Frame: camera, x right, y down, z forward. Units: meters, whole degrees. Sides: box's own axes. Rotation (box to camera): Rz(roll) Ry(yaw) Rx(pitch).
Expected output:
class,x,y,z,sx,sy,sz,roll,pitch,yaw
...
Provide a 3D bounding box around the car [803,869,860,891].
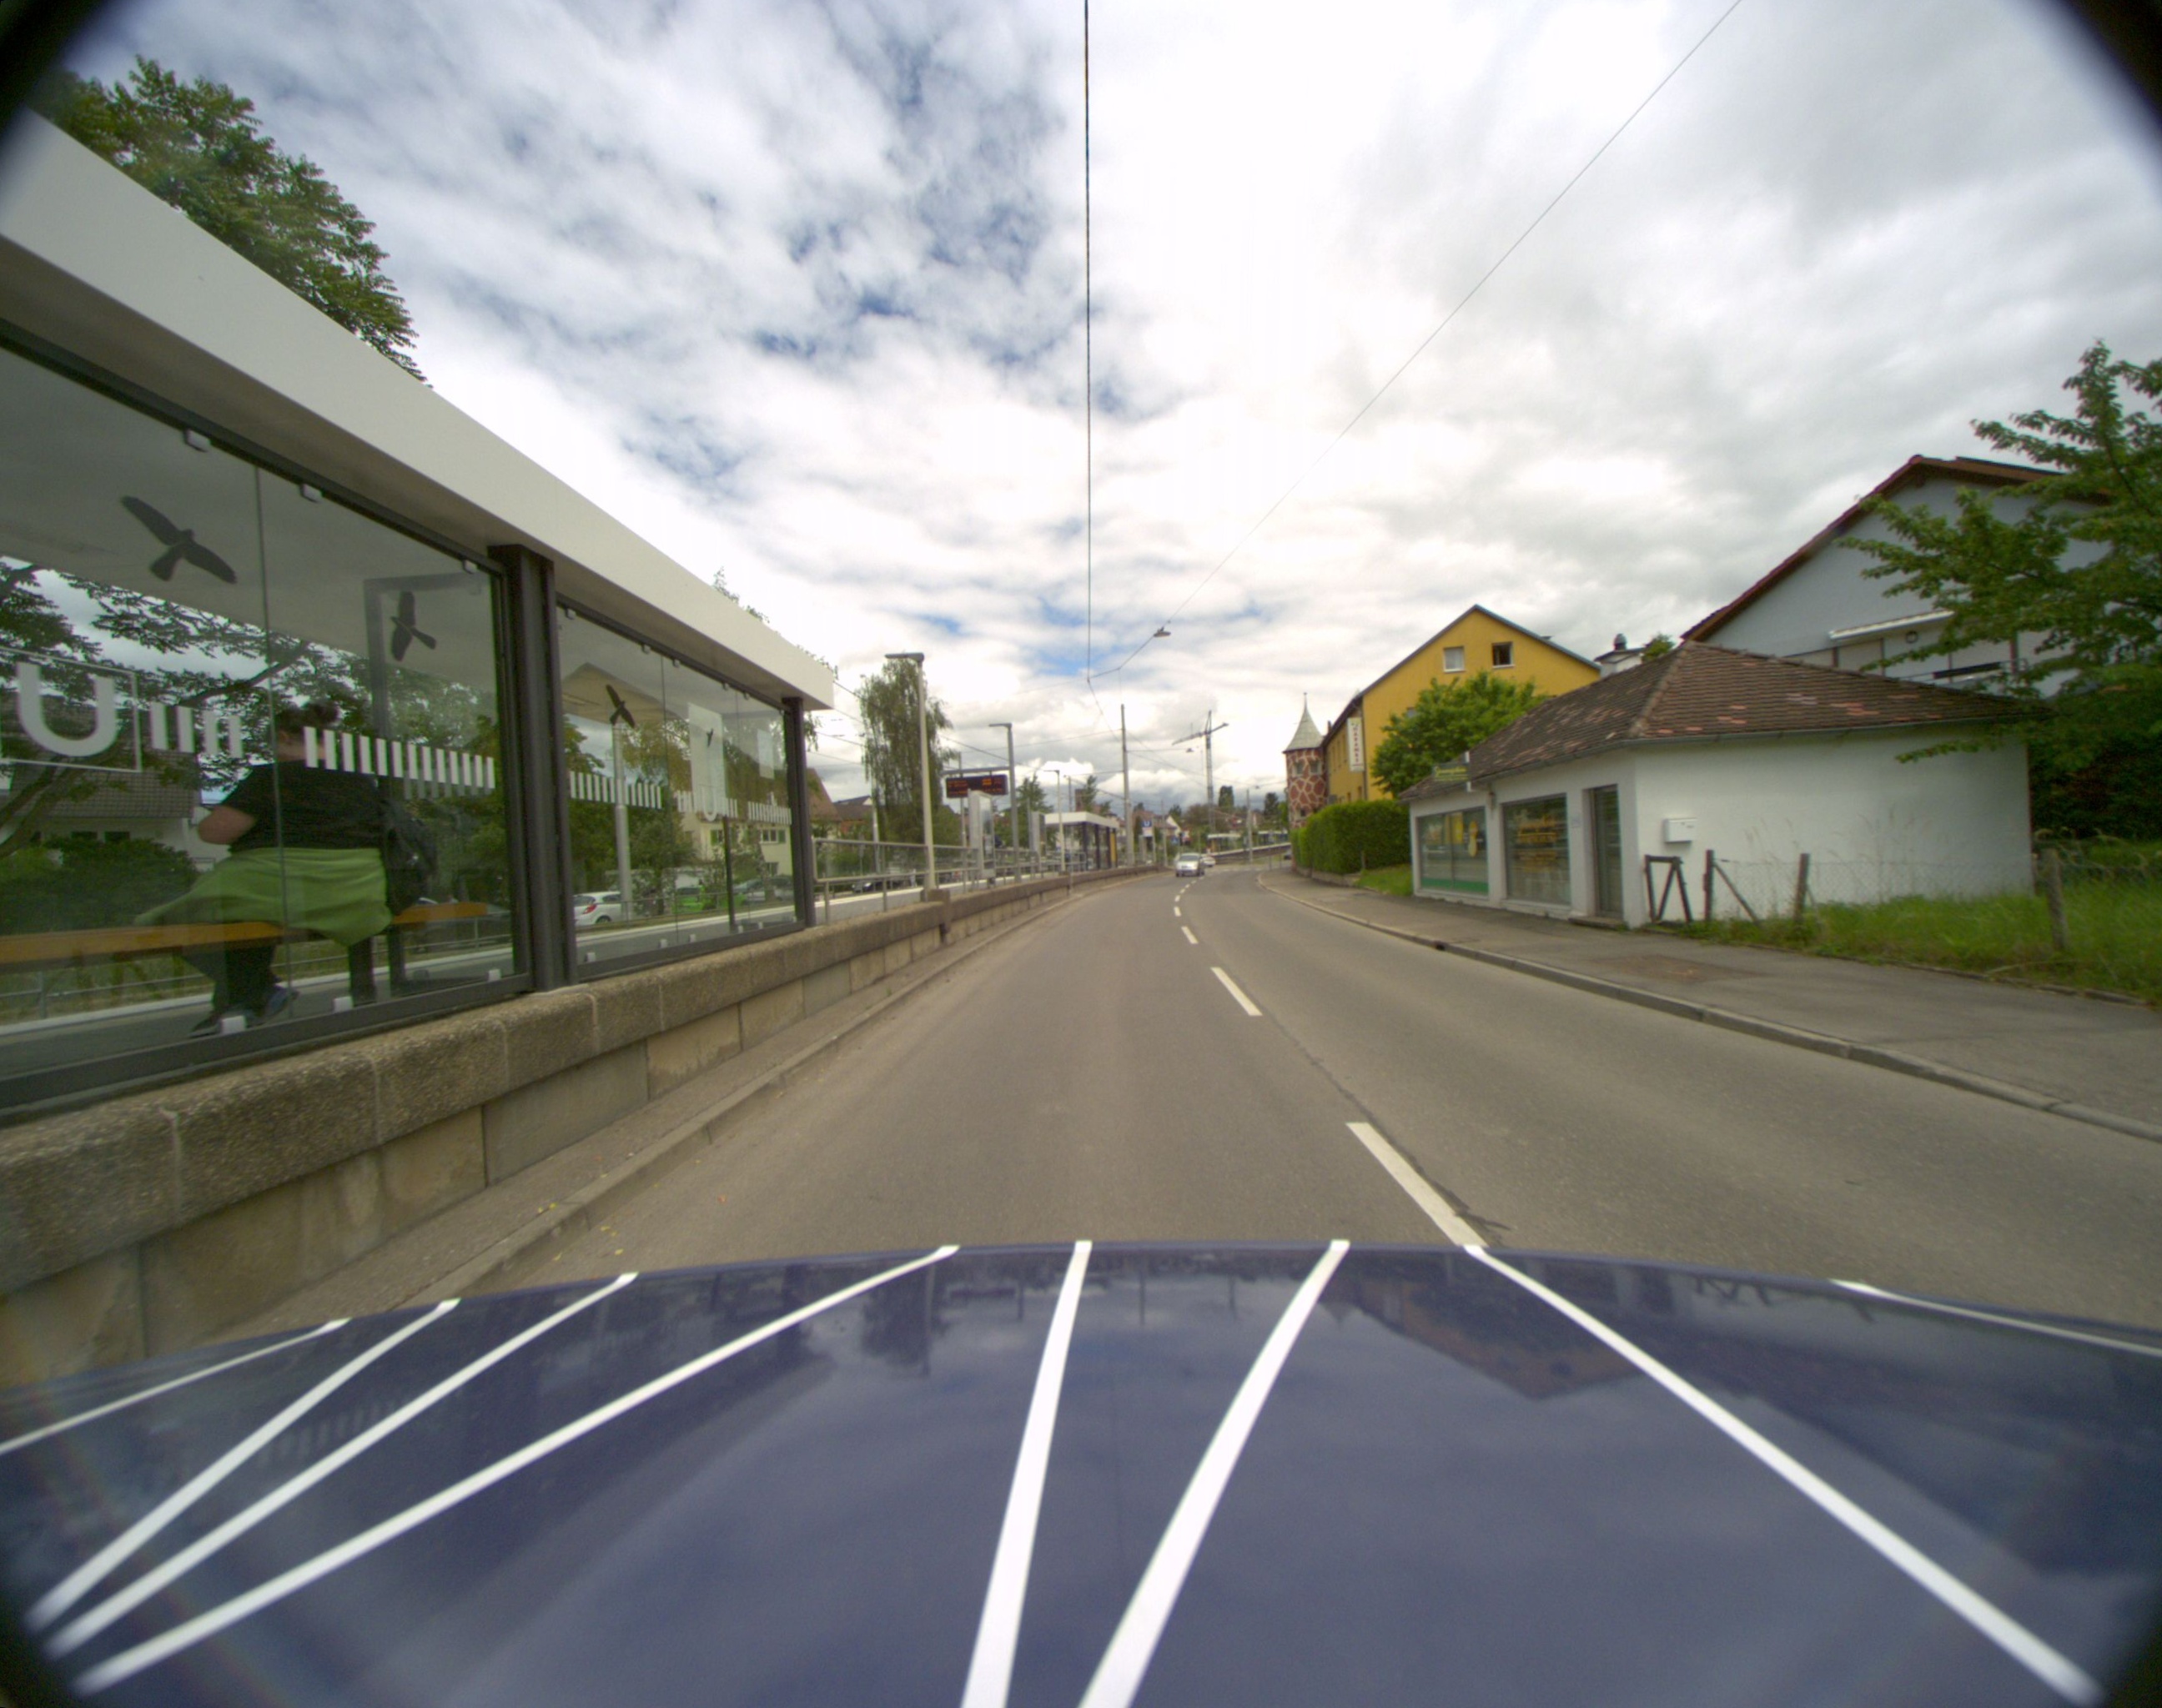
class,x,y,z,sx,sy,sz,roll,pitch,yaw
car,-19.417,2.036,59.308,1.996,1.426,4.005,-3,0,21

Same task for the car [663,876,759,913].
class,x,y,z,sx,sy,sz,roll,pitch,yaw
car,-16.662,1.792,34.443,1.997,1.341,4.002,-4,0,7

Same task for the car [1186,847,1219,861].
class,x,y,z,sx,sy,sz,roll,pitch,yaw
car,13.802,0.017,86.479,1.737,1.454,4.219,-4,0,-21

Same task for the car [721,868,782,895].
class,x,y,z,sx,sy,sz,roll,pitch,yaw
car,-26.439,2.203,61.159,1.996,1.851,4.241,-3,0,21

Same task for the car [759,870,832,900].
class,x,y,z,sx,sy,sz,roll,pitch,yaw
car,-15.948,1.706,42.624,1.997,1.341,4.003,-3,0,10

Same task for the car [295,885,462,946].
class,x,y,z,sx,sy,sz,roll,pitch,yaw
car,-24.868,2.133,27.071,1.790,1.764,3.882,-3,0,23

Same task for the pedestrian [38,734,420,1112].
class,x,y,z,sx,sy,sz,roll,pitch,yaw
pedestrian,-3.295,0.246,3.015,0.655,1.304,0.691,-3,1,2

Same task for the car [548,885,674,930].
class,x,y,z,sx,sy,sz,roll,pitch,yaw
car,-17.965,2.009,29.276,1.997,1.341,4.002,-4,0,7

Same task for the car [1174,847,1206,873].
class,x,y,z,sx,sy,sz,roll,pitch,yaw
car,7.865,0.419,54.461,1.732,1.639,4.230,-3,0,14
